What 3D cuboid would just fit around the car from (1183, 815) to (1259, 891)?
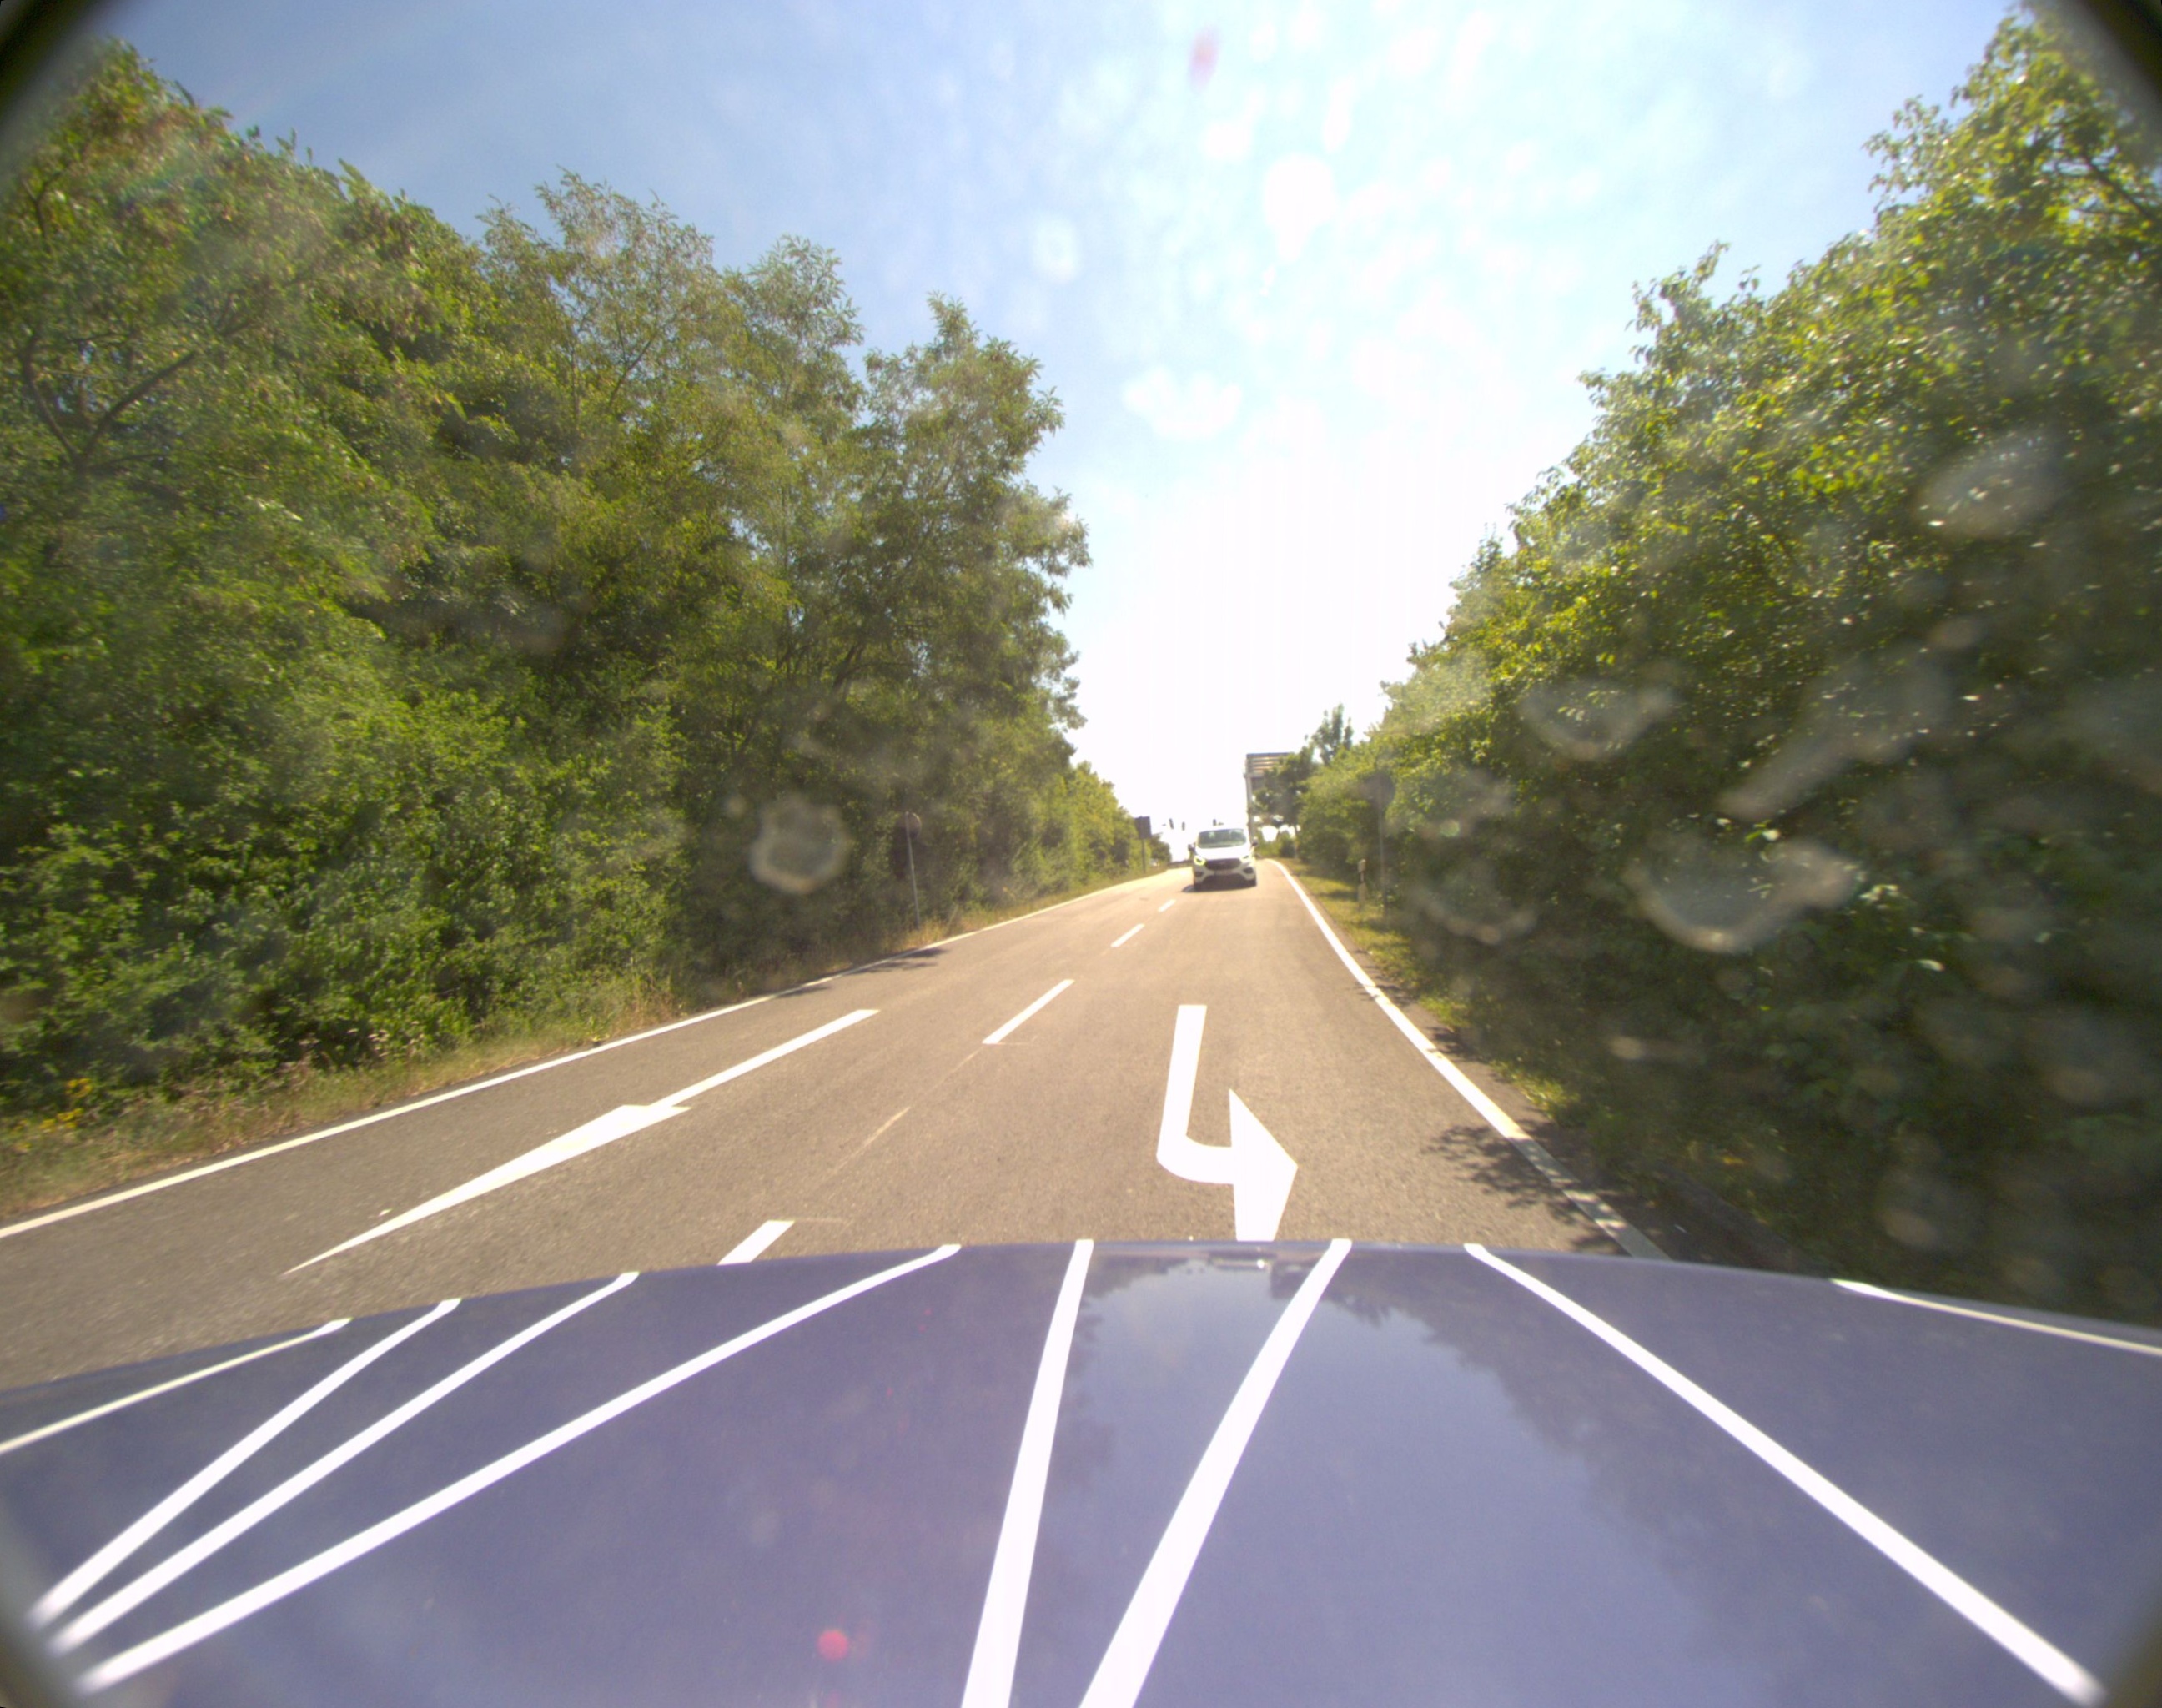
[{"bbox_3d":[4.754,-0.074,25.214,2.029,2.072,5.877,-5,0,13],"label":"car"}]
